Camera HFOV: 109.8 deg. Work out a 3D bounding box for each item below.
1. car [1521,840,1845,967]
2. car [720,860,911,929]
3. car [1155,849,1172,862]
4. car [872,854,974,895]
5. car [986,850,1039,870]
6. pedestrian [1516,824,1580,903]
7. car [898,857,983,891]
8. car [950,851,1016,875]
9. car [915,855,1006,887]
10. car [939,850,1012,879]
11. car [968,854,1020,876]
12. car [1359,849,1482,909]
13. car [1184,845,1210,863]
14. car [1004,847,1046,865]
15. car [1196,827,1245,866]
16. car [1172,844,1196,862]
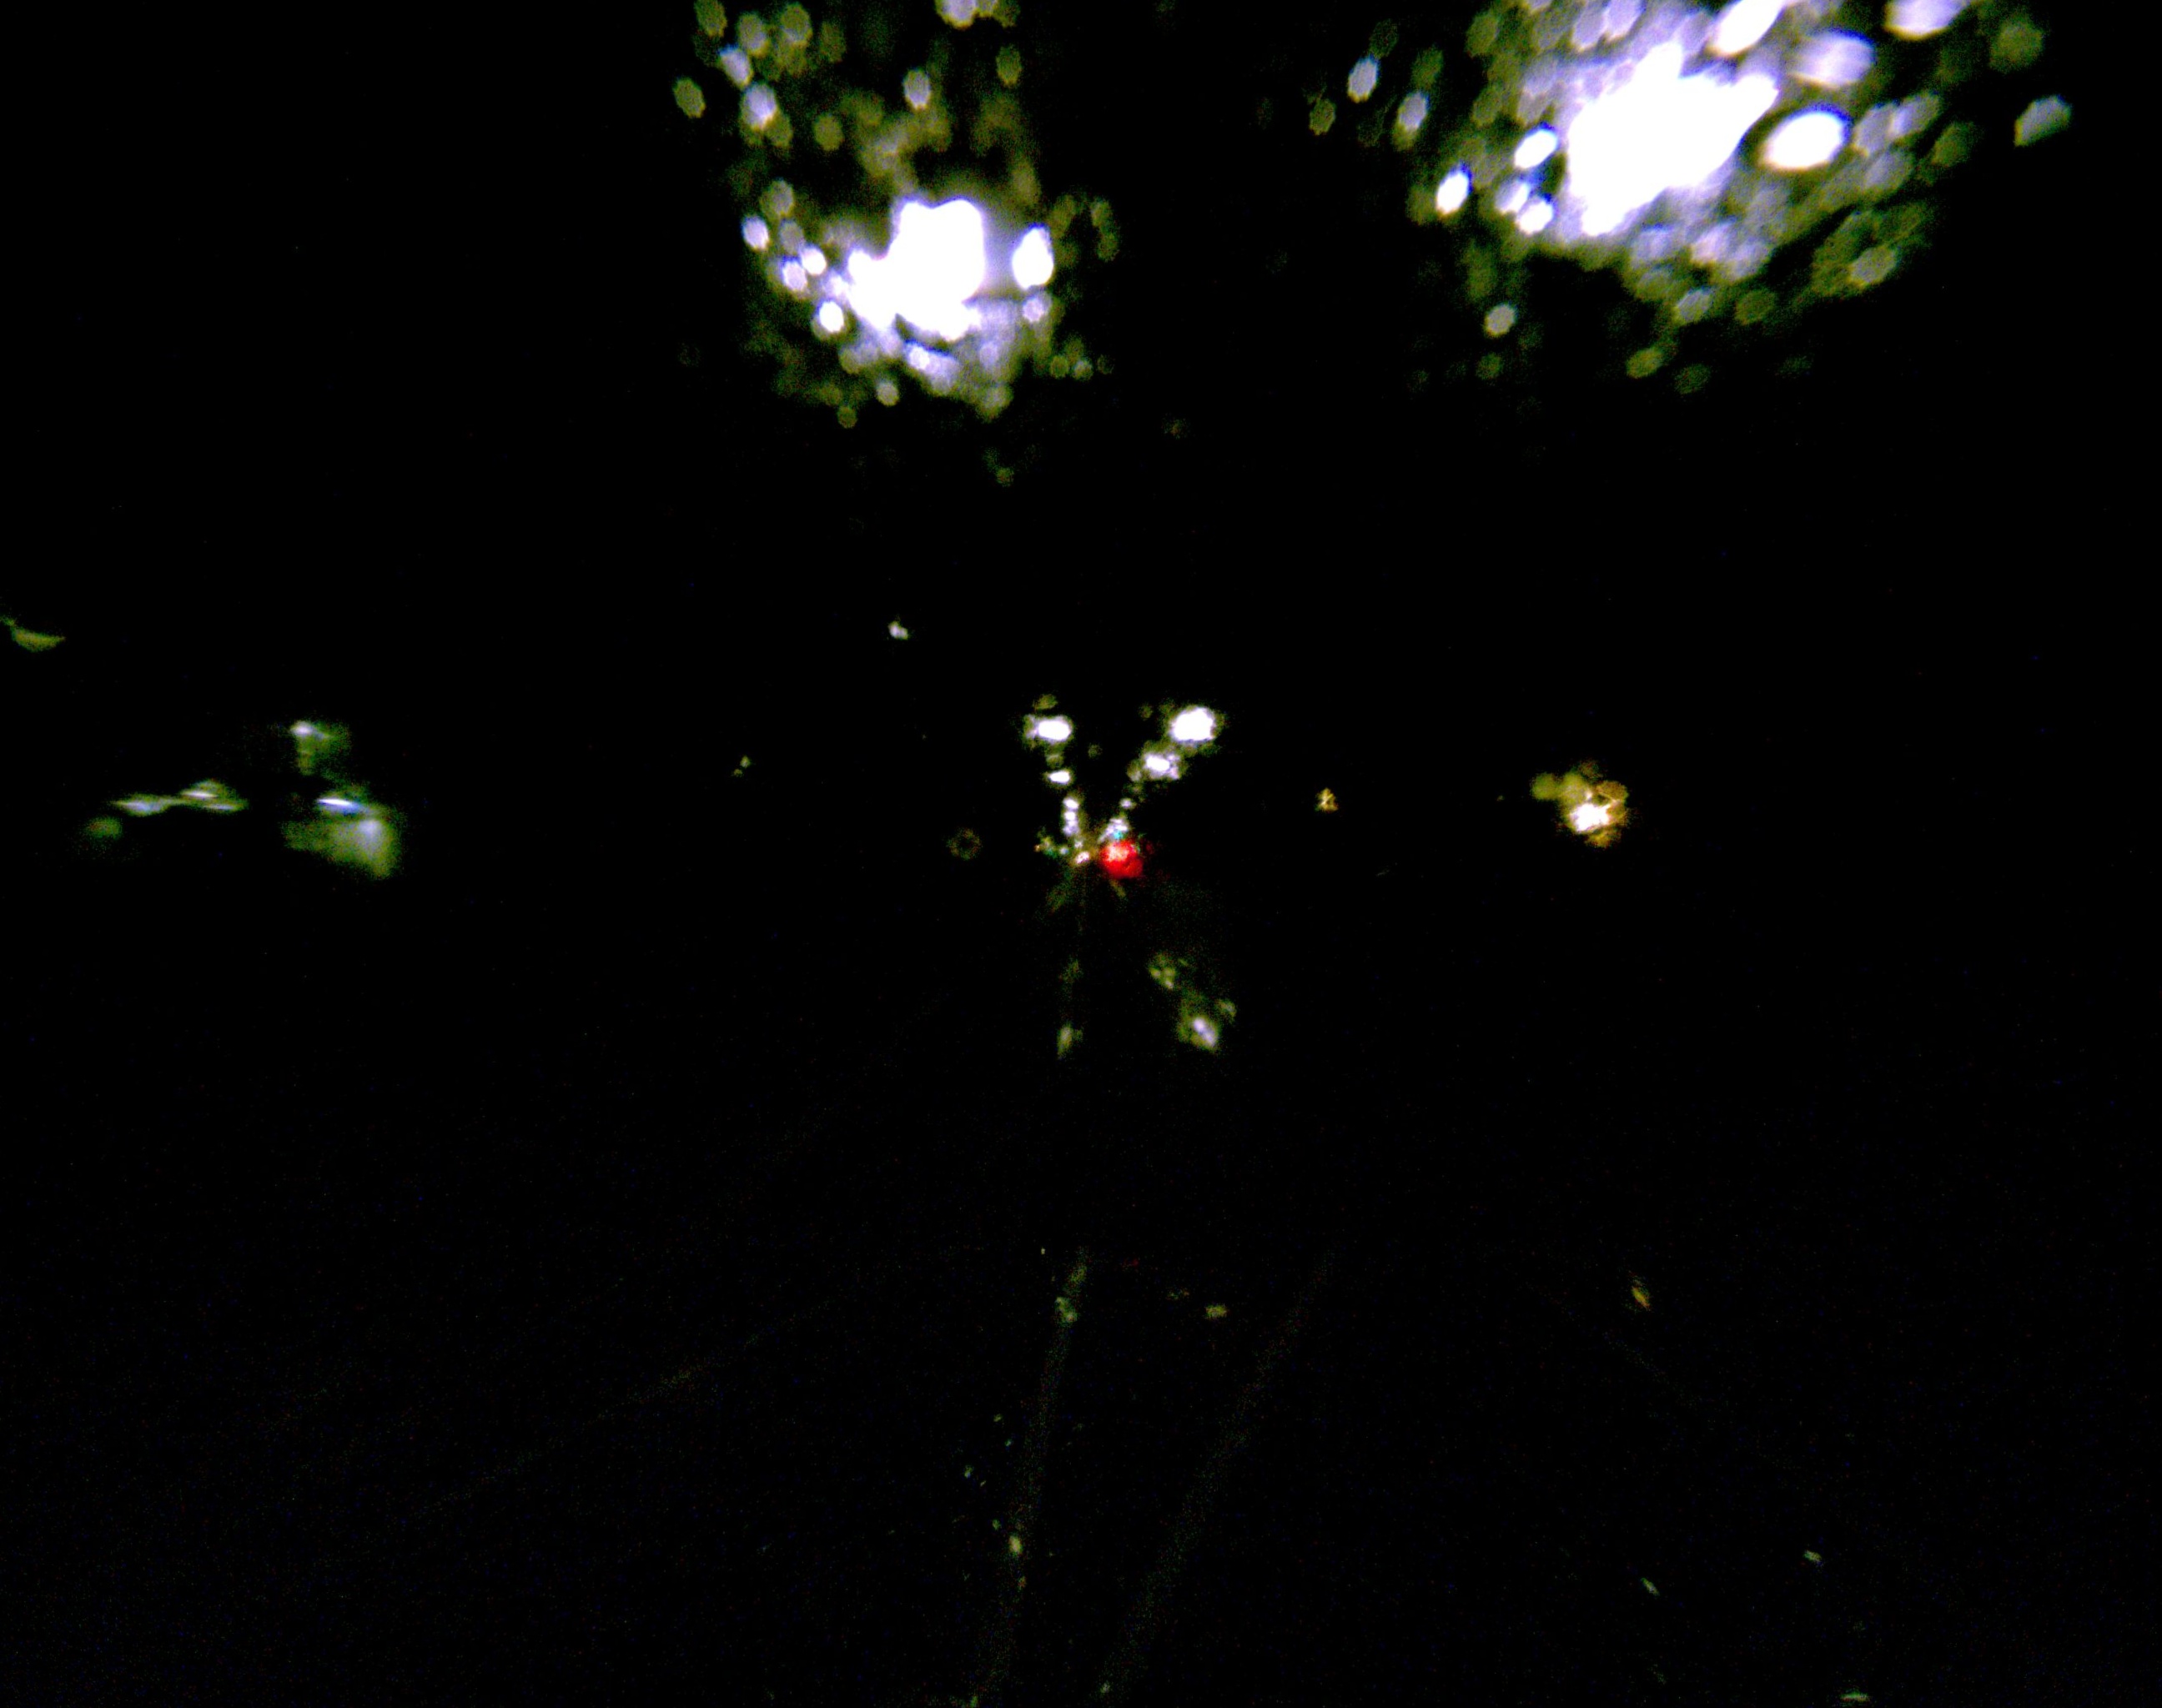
[{"bbox_3d":[9.380,0.649,12.430,1.814,1.569,4.353,-5,1,1],"label":"car"},{"bbox_3d":[-6.843,0.973,19.801,4.349,1.459,1.677,-2,1,-38],"label":"car"},{"bbox_3d":[10.491,0.180,96.979,1.693,1.566,3.917,-2,1,1],"label":"car"},{"bbox_3d":[-6.676,0.824,32.311,1.707,1.503,3.914,-1,2,44],"label":"car"},{"bbox_3d":[-5.651,0.484,62.548,4.021,1.519,1.796,-3,2,-41],"label":"car"},{"bbox_3d":[11.599,0.216,18.910,0.794,1.891,1.290,-2,1,1],"label":"pedestrian"},{"bbox_3d":[-6.569,0.878,35.628,3.579,1.463,1.649,-1,1,-37],"label":"car"},{"bbox_3d":[-6.636,0.600,51.676,4.170,1.437,1.651,-3,1,-42],"label":"car"},{"bbox_3d":[-6.163,0.860,39.191,4.264,1.409,1.780,-3,2,-41],"label":"car"},{"bbox_3d":[-6.275,0.612,45.502,1.658,1.473,4.194,-3,0,42],"label":"car"},{"bbox_3d":[-6.691,0.853,58.422,1.712,1.519,3.675,-1,2,45],"label":"car"},{"bbox_3d":[9.480,0.625,21.565,1.723,1.447,3.950,-2,1,0],"label":"car"},{"bbox_3d":[10.226,-0.042,67.147,1.720,1.399,3.389,-4,1,0],"label":"car"},{"bbox_3d":[-5.727,0.201,78.217,3.964,1.761,1.666,-3,2,-36],"label":"car"},{"bbox_3d":[9.978,-0.558,54.876,2.248,2.494,5.258,-4,1,-2],"label":"car"},{"bbox_3d":[10.236,-0.119,75.747,1.846,1.573,3.663,-4,1,0],"label":"car"}]
